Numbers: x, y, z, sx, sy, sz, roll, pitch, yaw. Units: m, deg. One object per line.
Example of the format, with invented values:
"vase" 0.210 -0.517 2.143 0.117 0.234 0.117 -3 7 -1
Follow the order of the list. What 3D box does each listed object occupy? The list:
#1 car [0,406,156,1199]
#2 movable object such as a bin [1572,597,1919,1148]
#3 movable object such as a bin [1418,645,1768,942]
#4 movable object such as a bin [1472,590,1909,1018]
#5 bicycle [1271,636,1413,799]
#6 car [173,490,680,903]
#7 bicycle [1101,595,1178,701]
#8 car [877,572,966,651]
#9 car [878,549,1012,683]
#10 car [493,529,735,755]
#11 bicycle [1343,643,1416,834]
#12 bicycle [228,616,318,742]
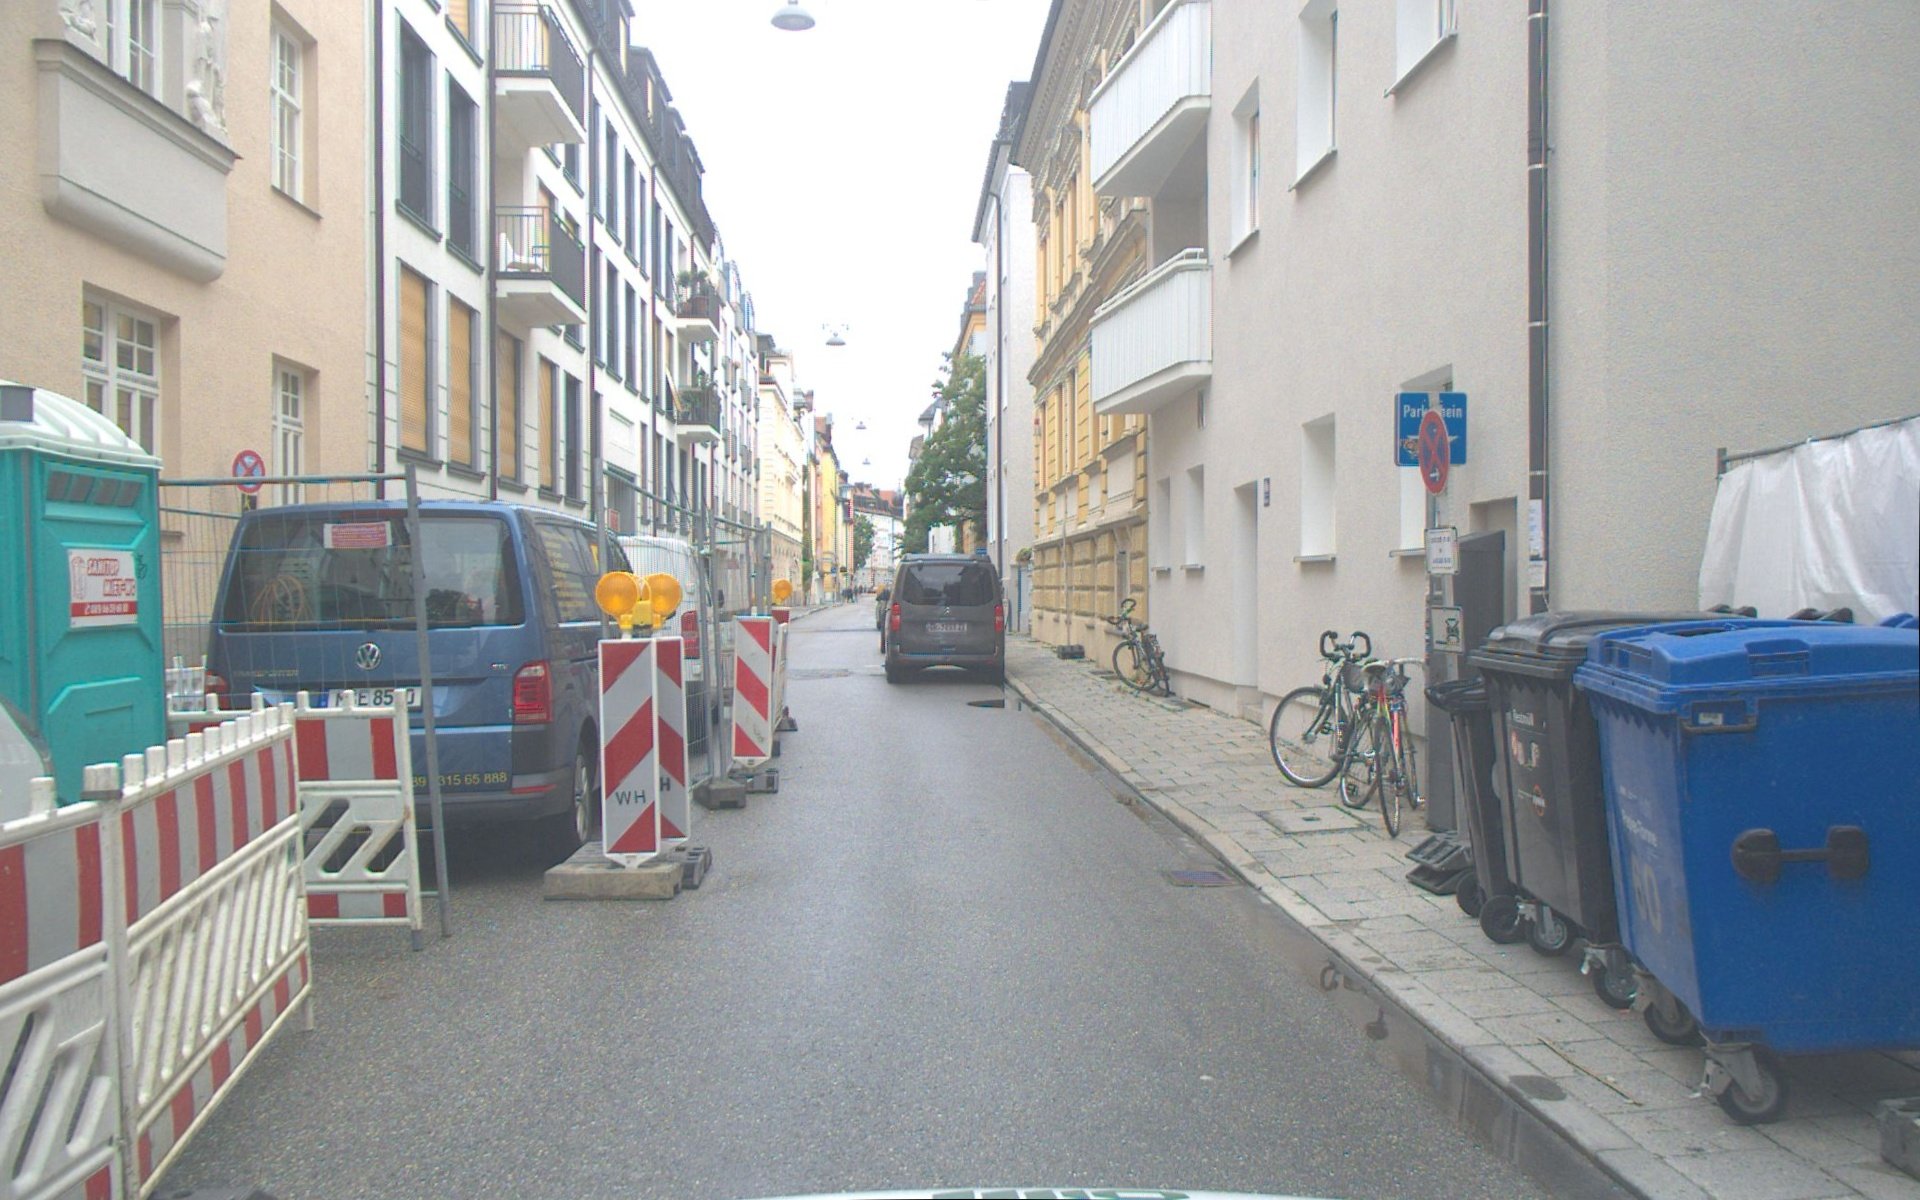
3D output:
"car" -3.158 0.528 2.377 1.879 1.930 4.787 -2 0 -4
"movable object such as a bin" 2.541 0.719 4.921 1.063 1.369 1.319 -3 1 10
"movable object such as a bin" 2.696 0.809 7.167 1.185 1.114 0.790 -4 0 5
"movable object such as a bin" 2.640 0.692 6.166 1.102 1.369 1.172 -4 0 5
"bicycle" 2.616 0.777 11.445 0.397 1.009 1.325 -3 0 -11
"car" -3.033 0.443 10.734 1.693 1.930 5.506 -2 0 -3
"bicycle" 2.193 0.563 20.430 0.625 1.173 1.914 -3 1 -2
"car" -0.922 0.216 37.196 1.856 1.670 4.319 0 1 -3
"car" -0.336 0.220 27.211 1.954 1.965 4.657 1 0 -3
"car" -3.311 0.349 16.753 1.868 1.930 5.082 0 0 -6
"bicycle" 2.545 0.805 10.100 0.274 1.009 1.435 -3 0 10
"bicycle" -6.278 0.701 15.161 0.297 1.070 1.390 2 0 -4
